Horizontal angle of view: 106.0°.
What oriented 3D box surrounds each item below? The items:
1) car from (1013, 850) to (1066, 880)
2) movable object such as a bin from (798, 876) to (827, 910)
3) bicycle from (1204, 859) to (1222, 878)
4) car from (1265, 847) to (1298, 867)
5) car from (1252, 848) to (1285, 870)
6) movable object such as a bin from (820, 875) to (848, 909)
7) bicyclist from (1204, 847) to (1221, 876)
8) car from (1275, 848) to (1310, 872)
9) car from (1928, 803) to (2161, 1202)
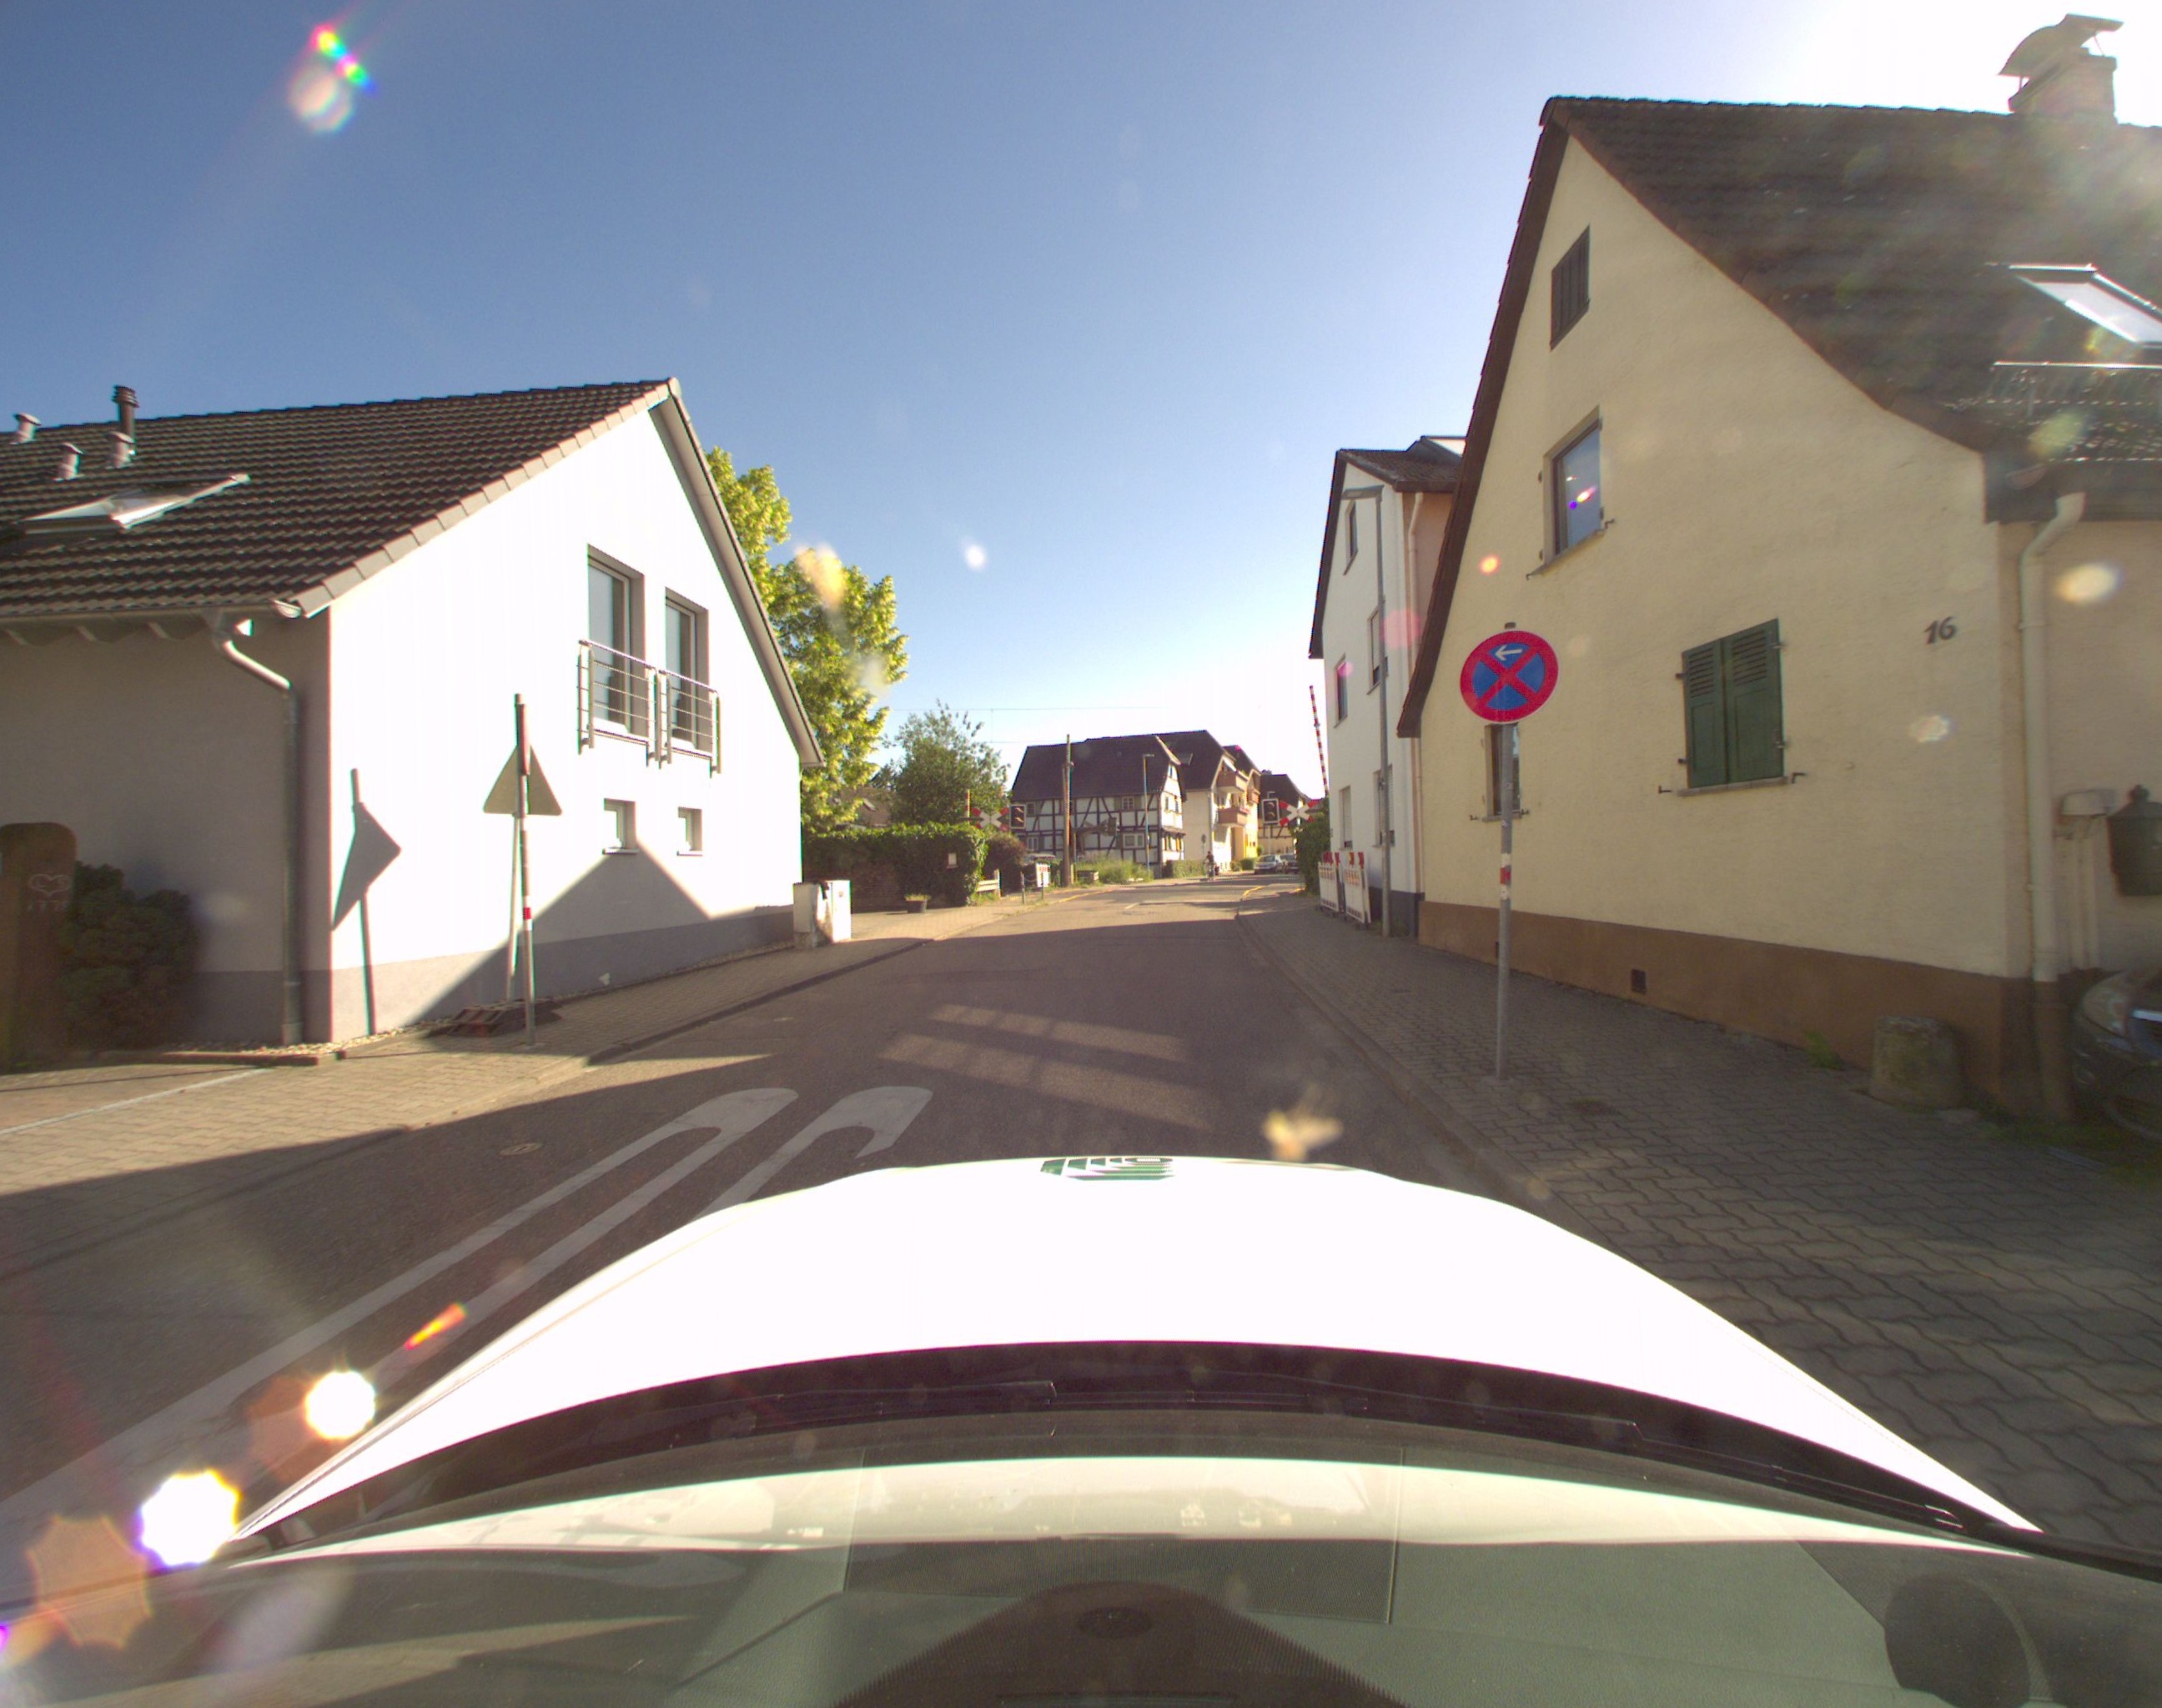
[{"bbox_3d":[-2.321,0.575,44.870,1.690,1.564,3.970,0,0,-23],"label":"car"},{"bbox_3d":[-7.685,1.106,23.291,0.586,0.934,0.509,-1,-1,10],"label":"movable object such as a bin"},{"bbox_3d":[7.355,0.795,45.562,0.879,1.005,2.067,-2,-1,7],"label":"bicycle"},{"bbox_3d":[16.513,0.233,66.956,1.658,1.506,4.119,-3,0,27],"label":"car"},{"bbox_3d":[14.468,0.381,62.696,1.616,1.506,3.876,-5,-1,26],"label":"car"},{"bbox_3d":[-7.048,1.089,23.220,0.586,0.934,0.509,-1,-1,10],"label":"movable object such as a bin"},{"bbox_3d":[7.337,0.420,45.618,0.844,1.541,0.875,-2,-1,7],"label":"bicyclist"},{"bbox_3d":[15.200,0.400,58.471,1.671,1.509,3.676,5,4,26],"label":"car"},{"bbox_3d":[6.194,0.431,2.945,4.362,1.487,1.839,-3,0,-1],"label":"car"}]
